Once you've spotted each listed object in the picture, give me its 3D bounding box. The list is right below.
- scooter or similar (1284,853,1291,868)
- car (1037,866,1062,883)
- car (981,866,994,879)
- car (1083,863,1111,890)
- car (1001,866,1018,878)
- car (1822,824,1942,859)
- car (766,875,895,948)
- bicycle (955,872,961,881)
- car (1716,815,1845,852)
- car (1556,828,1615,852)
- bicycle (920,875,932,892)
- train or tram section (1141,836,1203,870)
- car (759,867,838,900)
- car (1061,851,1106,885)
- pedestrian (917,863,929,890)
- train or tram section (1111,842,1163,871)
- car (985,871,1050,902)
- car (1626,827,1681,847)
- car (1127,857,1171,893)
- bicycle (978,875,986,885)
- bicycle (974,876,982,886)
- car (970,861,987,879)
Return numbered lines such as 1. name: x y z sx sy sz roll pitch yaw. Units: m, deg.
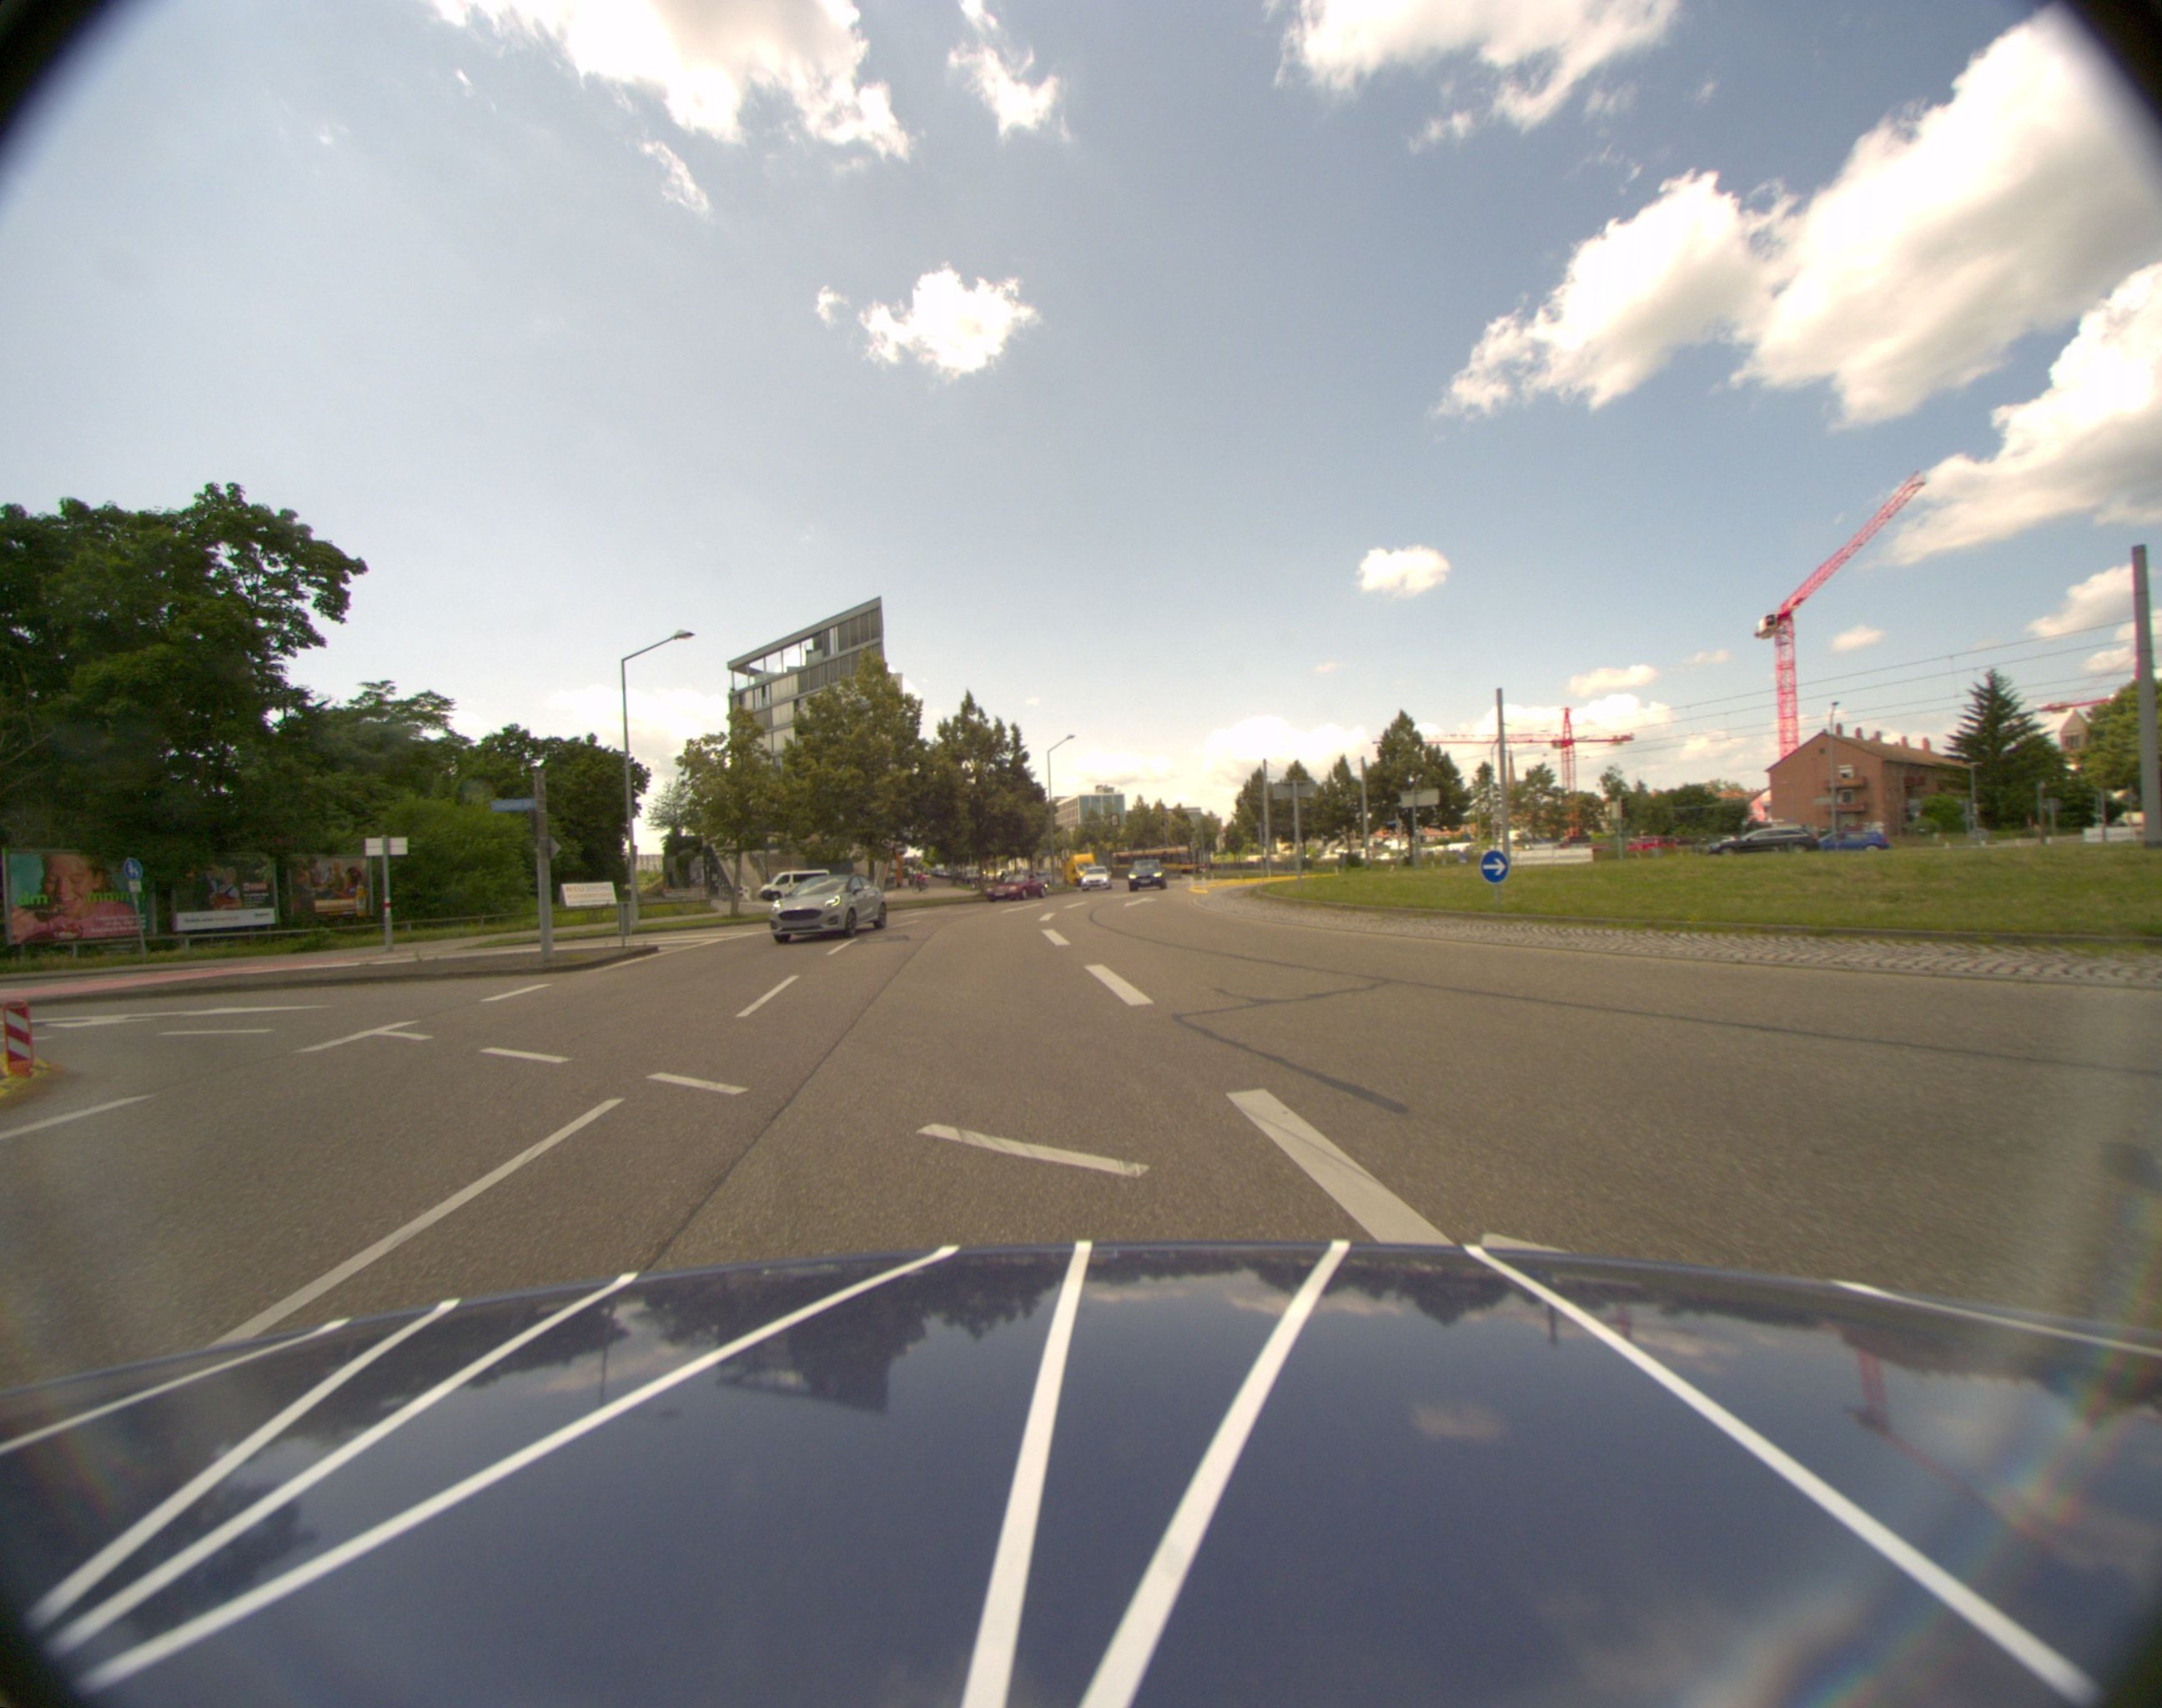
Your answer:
1. scooter or similar: 19.622 0.600 72.323 0.418 1.295 1.346 -3 2 7
2. car: -3.531 2.300 85.254 2.000 1.751 4.292 -5 0 -12
3. car: -14.231 2.795 115.244 1.824 1.641 3.998 -5 0 -7
4. car: 1.122 1.516 51.492 1.673 1.589 4.128 -5 0 2
5. car: -10.691 2.690 113.237 2.000 1.681 4.292 -5 0 -12
6. car: 46.903 -0.699 44.677 4.713 1.780 1.852 -4 -1 44
7. car: -6.051 1.332 18.875 1.674 1.462 4.093 -3 0 1
8. bicycle: -14.244 2.595 87.959 0.517 1.082 1.747 -2 -1 -17
9. car: 38.425 -1.077 41.935 5.057 1.665 2.004 -4 -1 39
10. car: 51.423 -1.349 77.640 2.391 2.184 6.844 -3 -1 11
11. bicycle: -12.201 2.341 59.814 0.813 1.237 2.408 -3 0 -14
12. train or tram section: 10.839 0.026 92.362 2.852 3.717 13.463 -3 -1 -13
13. car: -21.349 2.234 57.460 5.159 2.135 2.144 -3 -1 -32
14. car: 0.135 1.244 69.062 2.286 2.836 7.248 -3 0 -13
15. pedestrian: -12.459 1.774 59.964 0.755 2.002 1.230 -3 0 -13
16. train or tram section: 7.592 0.428 106.040 2.696 3.616 14.650 -3 -1 -13
17. car: -2.967 1.519 36.623 1.672 1.254 4.098 -5 -2 16
18. car: 58.396 -1.694 77.671 2.085 1.841 5.187 -3 -1 6
19. car: 3.677 1.072 40.408 1.773 1.589 4.130 -5 1 11
20. bicycle: -8.295 2.198 63.382 0.359 0.821 1.472 -3 -1 -19
21. bicycle: -8.659 2.228 63.659 0.359 0.821 1.472 -3 -1 -19
22. car: -14.761 2.284 109.387 2.163 2.380 6.273 -5 0 -9
